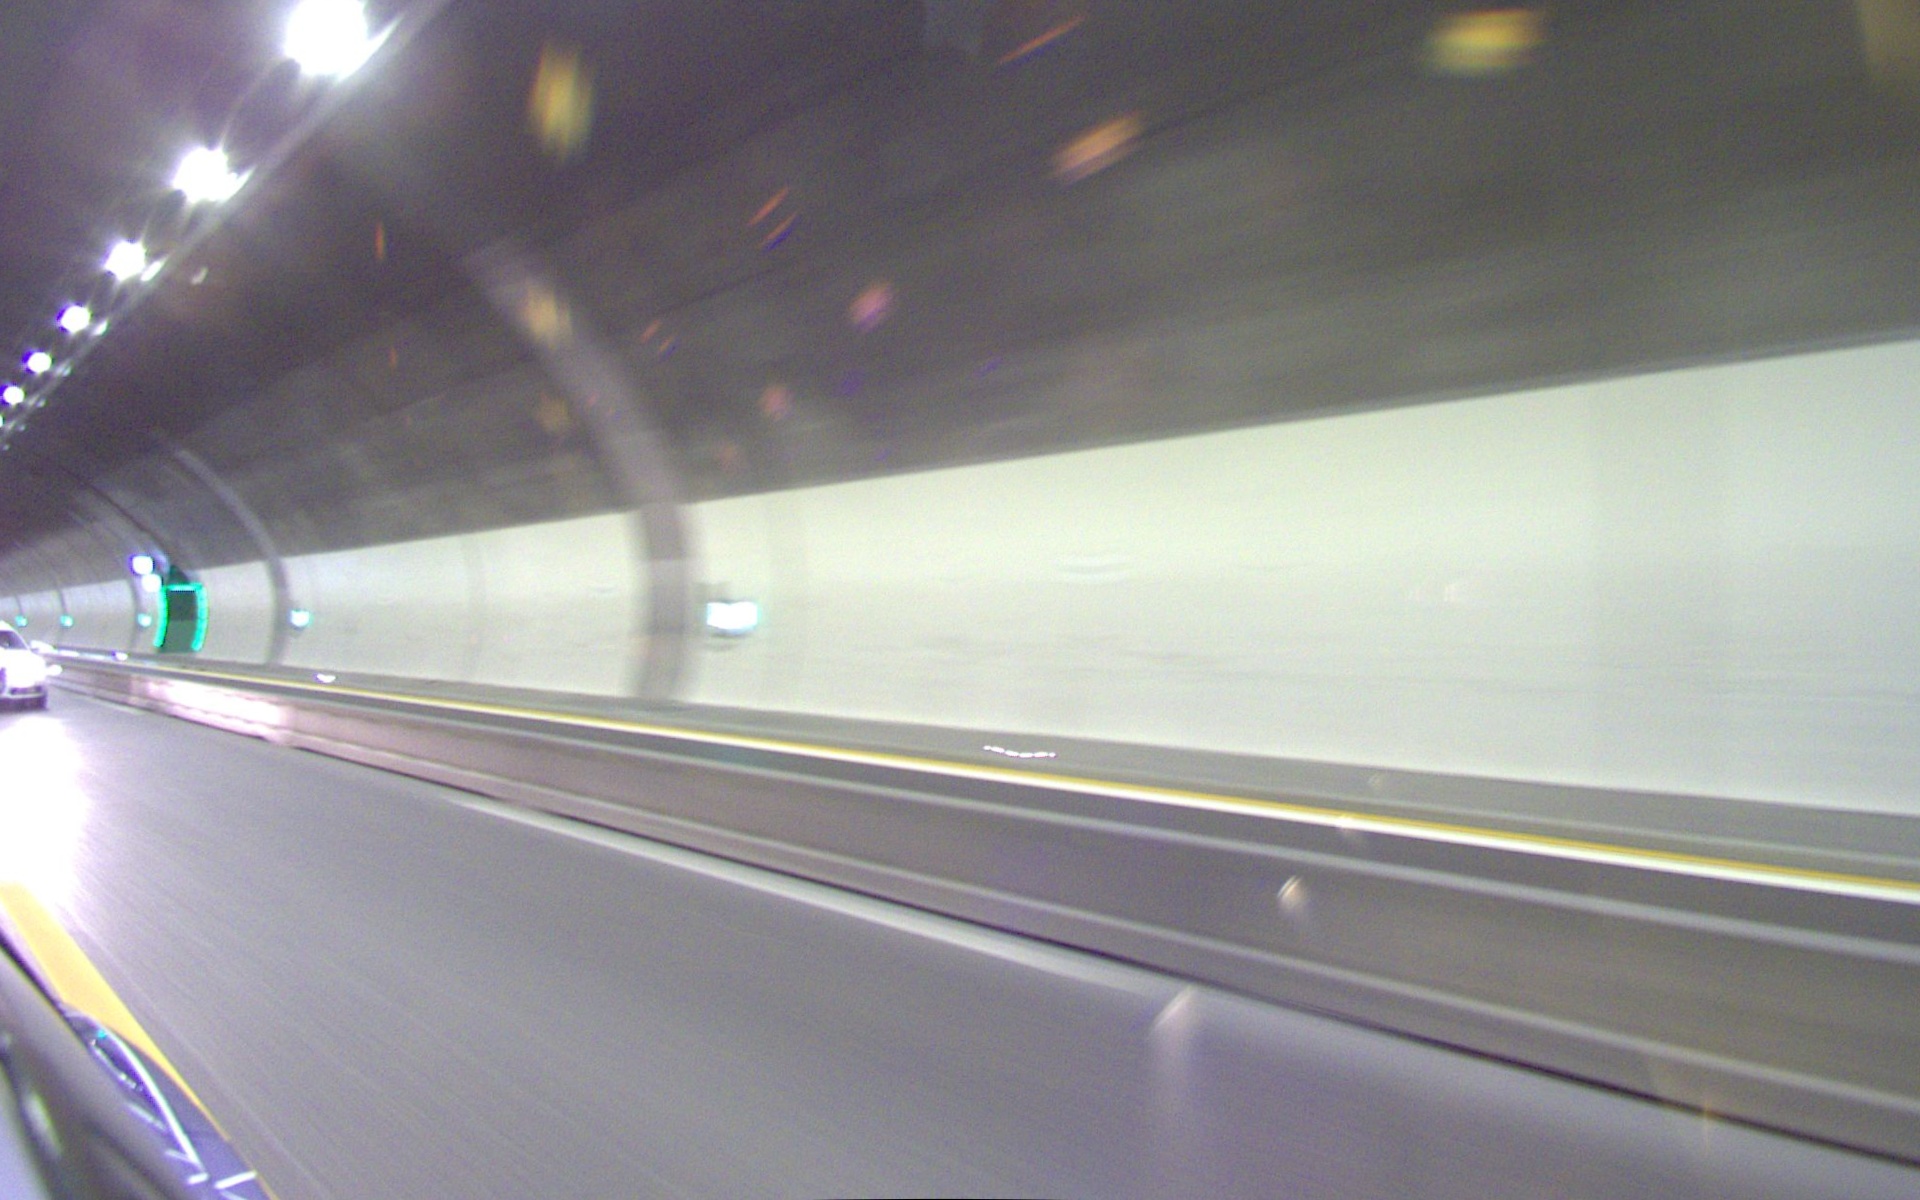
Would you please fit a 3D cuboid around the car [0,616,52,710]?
[{"bbox_3d":[-17.333,1.068,17.447,4.940,1.496,1.884,-2,-1,41],"label":"car"}]
